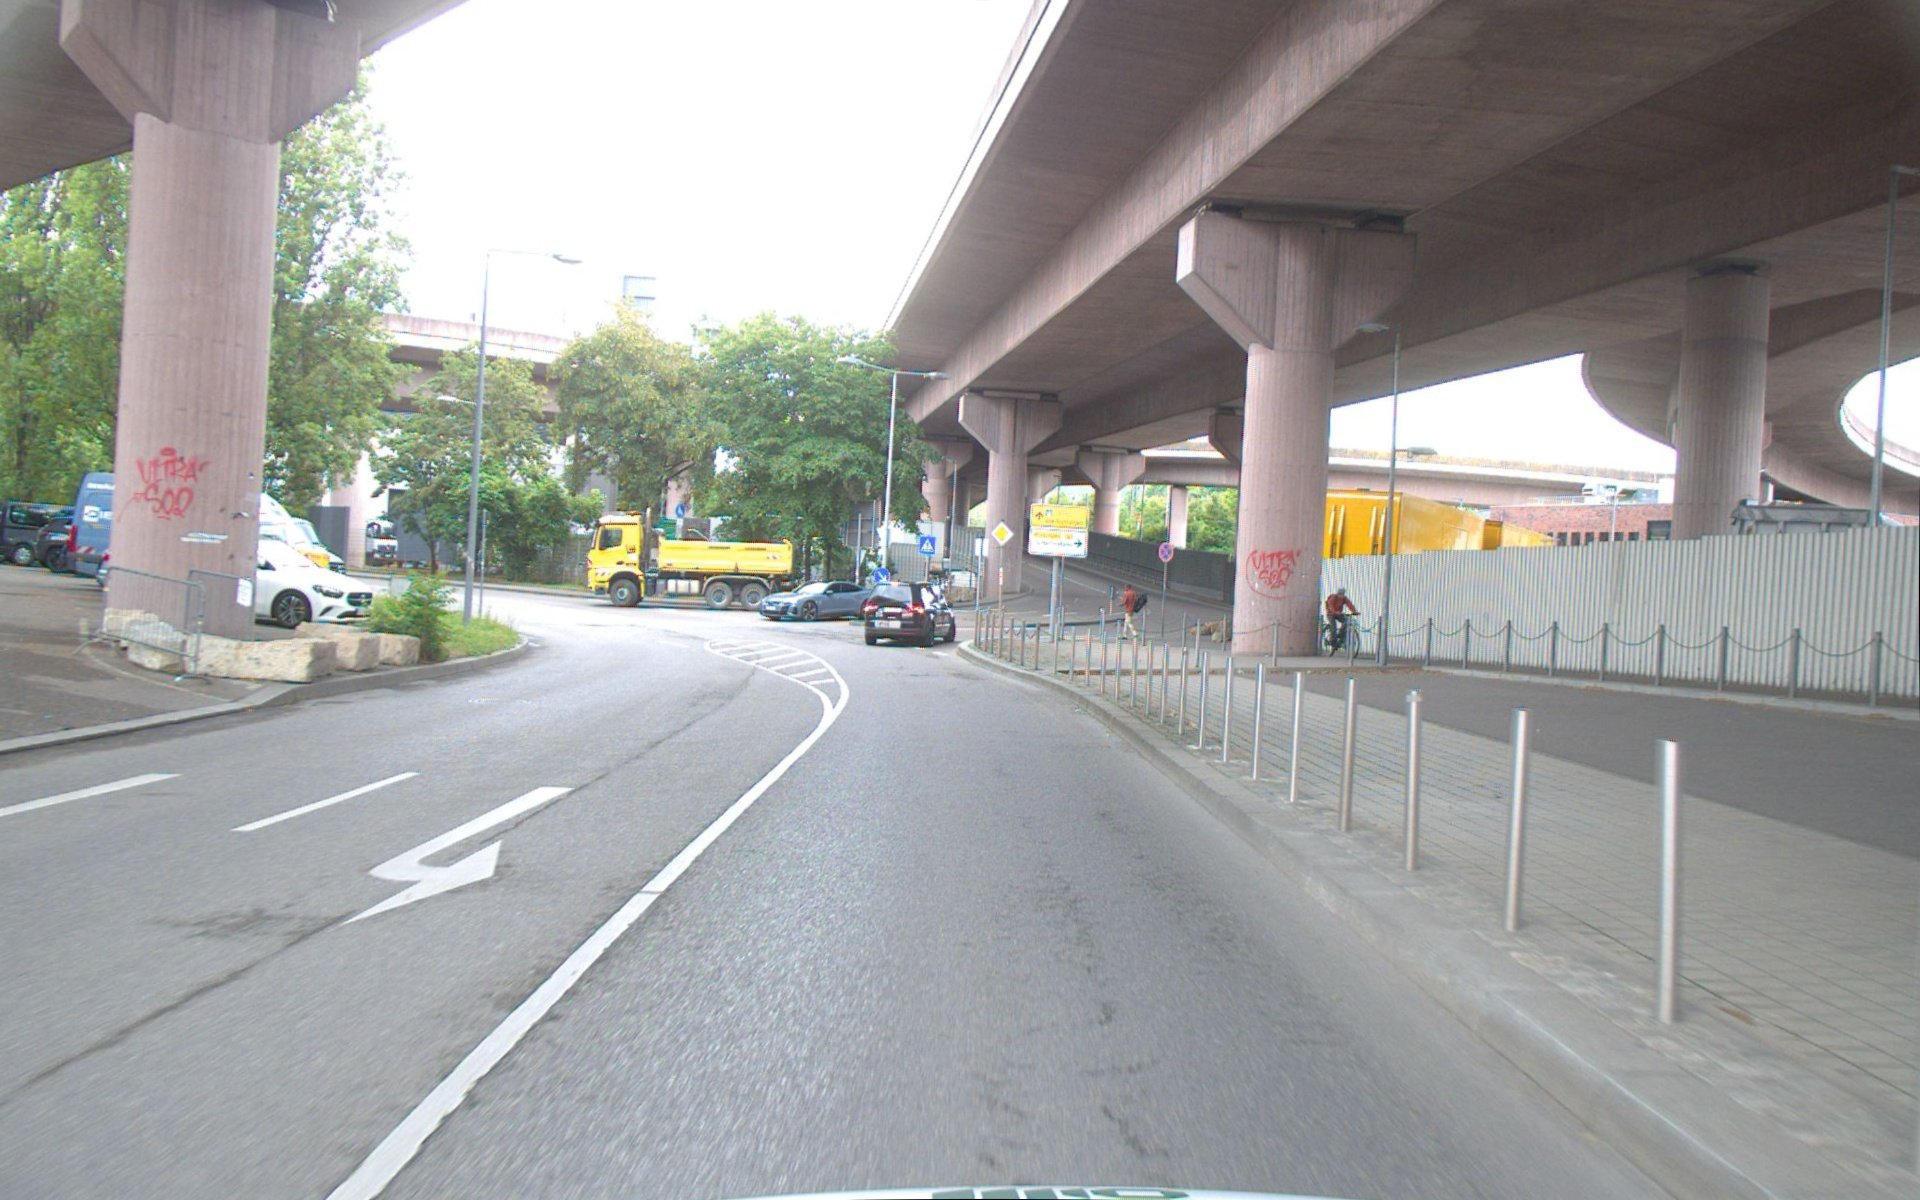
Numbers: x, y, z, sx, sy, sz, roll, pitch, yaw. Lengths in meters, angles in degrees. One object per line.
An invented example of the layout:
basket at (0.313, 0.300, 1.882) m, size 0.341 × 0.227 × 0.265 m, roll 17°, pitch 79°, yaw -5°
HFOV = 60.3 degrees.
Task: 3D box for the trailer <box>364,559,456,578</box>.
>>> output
trailer at (-30.164, -1.735, 90.627) m, size 6.186 × 0.756 × 2.142 m, roll 4°, pitch 5°, yaw 43°

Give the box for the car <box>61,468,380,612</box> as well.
car at (-16.813, -1.343, 37.871) m, size 6.052 × 2.772 × 2.367 m, roll 4°, pitch 0°, yaw -2°

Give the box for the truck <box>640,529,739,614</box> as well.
truck at (-13.970, -1.506, 84.840) m, size 3.028 × 4.032 × 6.866 m, roll 3°, pitch 0°, yaw -26°

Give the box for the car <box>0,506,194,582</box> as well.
car at (-27.507, -1.753, 52.780) m, size 4.989 × 2.108 × 2.258 m, roll 2°, pitch -1°, yaw -4°

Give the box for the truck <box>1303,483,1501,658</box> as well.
truck at (14.039, -0.803, 51.946) m, size 3.084 × 5.003 × 8.687 m, roll 3°, pitch 0°, yaw 35°

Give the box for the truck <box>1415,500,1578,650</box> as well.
truck at (19.560, -0.790, 59.924) m, size 3.084 × 4.988 × 8.687 m, roll 3°, pitch 0°, yaw 35°

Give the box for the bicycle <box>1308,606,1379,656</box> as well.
bicycle at (9.001, 0.714, 38.899) m, size 0.788 × 1.116 × 2.124 m, roll 1°, pitch 0°, yaw -12°

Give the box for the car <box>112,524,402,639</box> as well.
car at (-12.621, -0.333, 29.843) m, size 4.289 × 1.633 × 1.956 m, roll 5°, pitch 1°, yaw 6°

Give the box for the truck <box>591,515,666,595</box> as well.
truck at (-21.667, -3.015, 107.702) m, size 3.159 × 4.862 × 7.994 m, roll 1°, pitch 2°, yaw -23°

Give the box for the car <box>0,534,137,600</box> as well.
car at (-25.861, -0.942, 47.217) m, size 3.926 × 1.760 × 1.990 m, roll 1°, pitch 0°, yaw -19°

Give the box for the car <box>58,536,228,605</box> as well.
car at (-22.573, -0.815, 45.880) m, size 3.926 × 1.770 × 2.011 m, roll 1°, pitch 0°, yaw -19°

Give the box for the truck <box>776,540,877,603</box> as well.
truck at (-7.061, -1.529, 86.769) m, size 2.882 × 2.949 × 6.500 m, roll 1°, pitch 2°, yaw -28°

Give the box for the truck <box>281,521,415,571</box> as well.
truck at (-35.695, -3.170, 96.493) m, size 7.055 × 2.596 × 2.726 m, roll 3°, pitch 1°, yaw 16°

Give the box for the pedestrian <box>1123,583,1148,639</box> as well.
pedestrian at (5.392, 0.337, 50.804) m, size 0.528 × 1.705 × 0.555 m, roll 1°, pitch 1°, yaw -19°

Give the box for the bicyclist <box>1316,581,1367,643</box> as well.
bicyclist at (8.990, 0.278, 38.975) m, size 0.782 × 1.430 × 1.063 m, roll 1°, pitch 0°, yaw -13°

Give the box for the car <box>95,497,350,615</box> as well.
car at (-15.630, -0.922, 35.218) m, size 4.463 × 2.147 × 1.851 m, roll 4°, pitch 0°, yaw 1°

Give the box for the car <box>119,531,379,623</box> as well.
car at (-13.949, -0.453, 32.600) m, size 4.156 × 1.394 × 2.001 m, roll 5°, pitch 1°, yaw 3°

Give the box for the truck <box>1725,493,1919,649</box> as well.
truck at (19.265, -0.586, 36.067) m, size 3.085 × 2.995 × 8.685 m, roll -1°, pitch 0°, yaw 36°

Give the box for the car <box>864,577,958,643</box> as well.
car at (-1.293, 0.253, 45.640) m, size 1.951 × 1.708 × 4.564 m, roll 1°, pitch 0°, yaw 6°

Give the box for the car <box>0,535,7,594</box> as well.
car at (-35.094, -1.264, 56.602) m, size 3.926 × 2.049 × 1.990 m, roll 2°, pitch 0°, yaw -19°

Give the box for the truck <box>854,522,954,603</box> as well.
truck at (-3.348, -2.242, 95.870) m, size 3.025 × 4.373 × 7.992 m, roll 1°, pitch 2°, yaw -23°

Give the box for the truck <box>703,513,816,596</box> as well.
truck at (-10.398, -2.421, 84.821) m, size 3.030 × 3.934 × 7.977 m, roll 1°, pitch 2°, yaw -28°

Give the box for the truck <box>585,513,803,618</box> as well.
truck at (-10.233, -1.363, 64.301) m, size 8.062 × 3.540 × 2.933 m, roll 2°, pitch 4°, yaw -7°

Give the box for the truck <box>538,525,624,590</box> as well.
truck at (-23.906, -2.724, 103.947) m, size 3.023 × 3.681 × 7.839 m, roll 2°, pitch 2°, yaw -30°

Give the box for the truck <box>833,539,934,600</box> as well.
truck at (-4.153, -1.674, 88.486) m, size 2.882 × 2.949 × 6.500 m, roll 1°, pitch 2°, yaw -28°

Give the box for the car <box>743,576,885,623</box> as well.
car at (-5.094, 0.006, 58.345) m, size 2.134 × 1.528 × 4.904 m, roll 2°, pitch 1°, yaw 41°
